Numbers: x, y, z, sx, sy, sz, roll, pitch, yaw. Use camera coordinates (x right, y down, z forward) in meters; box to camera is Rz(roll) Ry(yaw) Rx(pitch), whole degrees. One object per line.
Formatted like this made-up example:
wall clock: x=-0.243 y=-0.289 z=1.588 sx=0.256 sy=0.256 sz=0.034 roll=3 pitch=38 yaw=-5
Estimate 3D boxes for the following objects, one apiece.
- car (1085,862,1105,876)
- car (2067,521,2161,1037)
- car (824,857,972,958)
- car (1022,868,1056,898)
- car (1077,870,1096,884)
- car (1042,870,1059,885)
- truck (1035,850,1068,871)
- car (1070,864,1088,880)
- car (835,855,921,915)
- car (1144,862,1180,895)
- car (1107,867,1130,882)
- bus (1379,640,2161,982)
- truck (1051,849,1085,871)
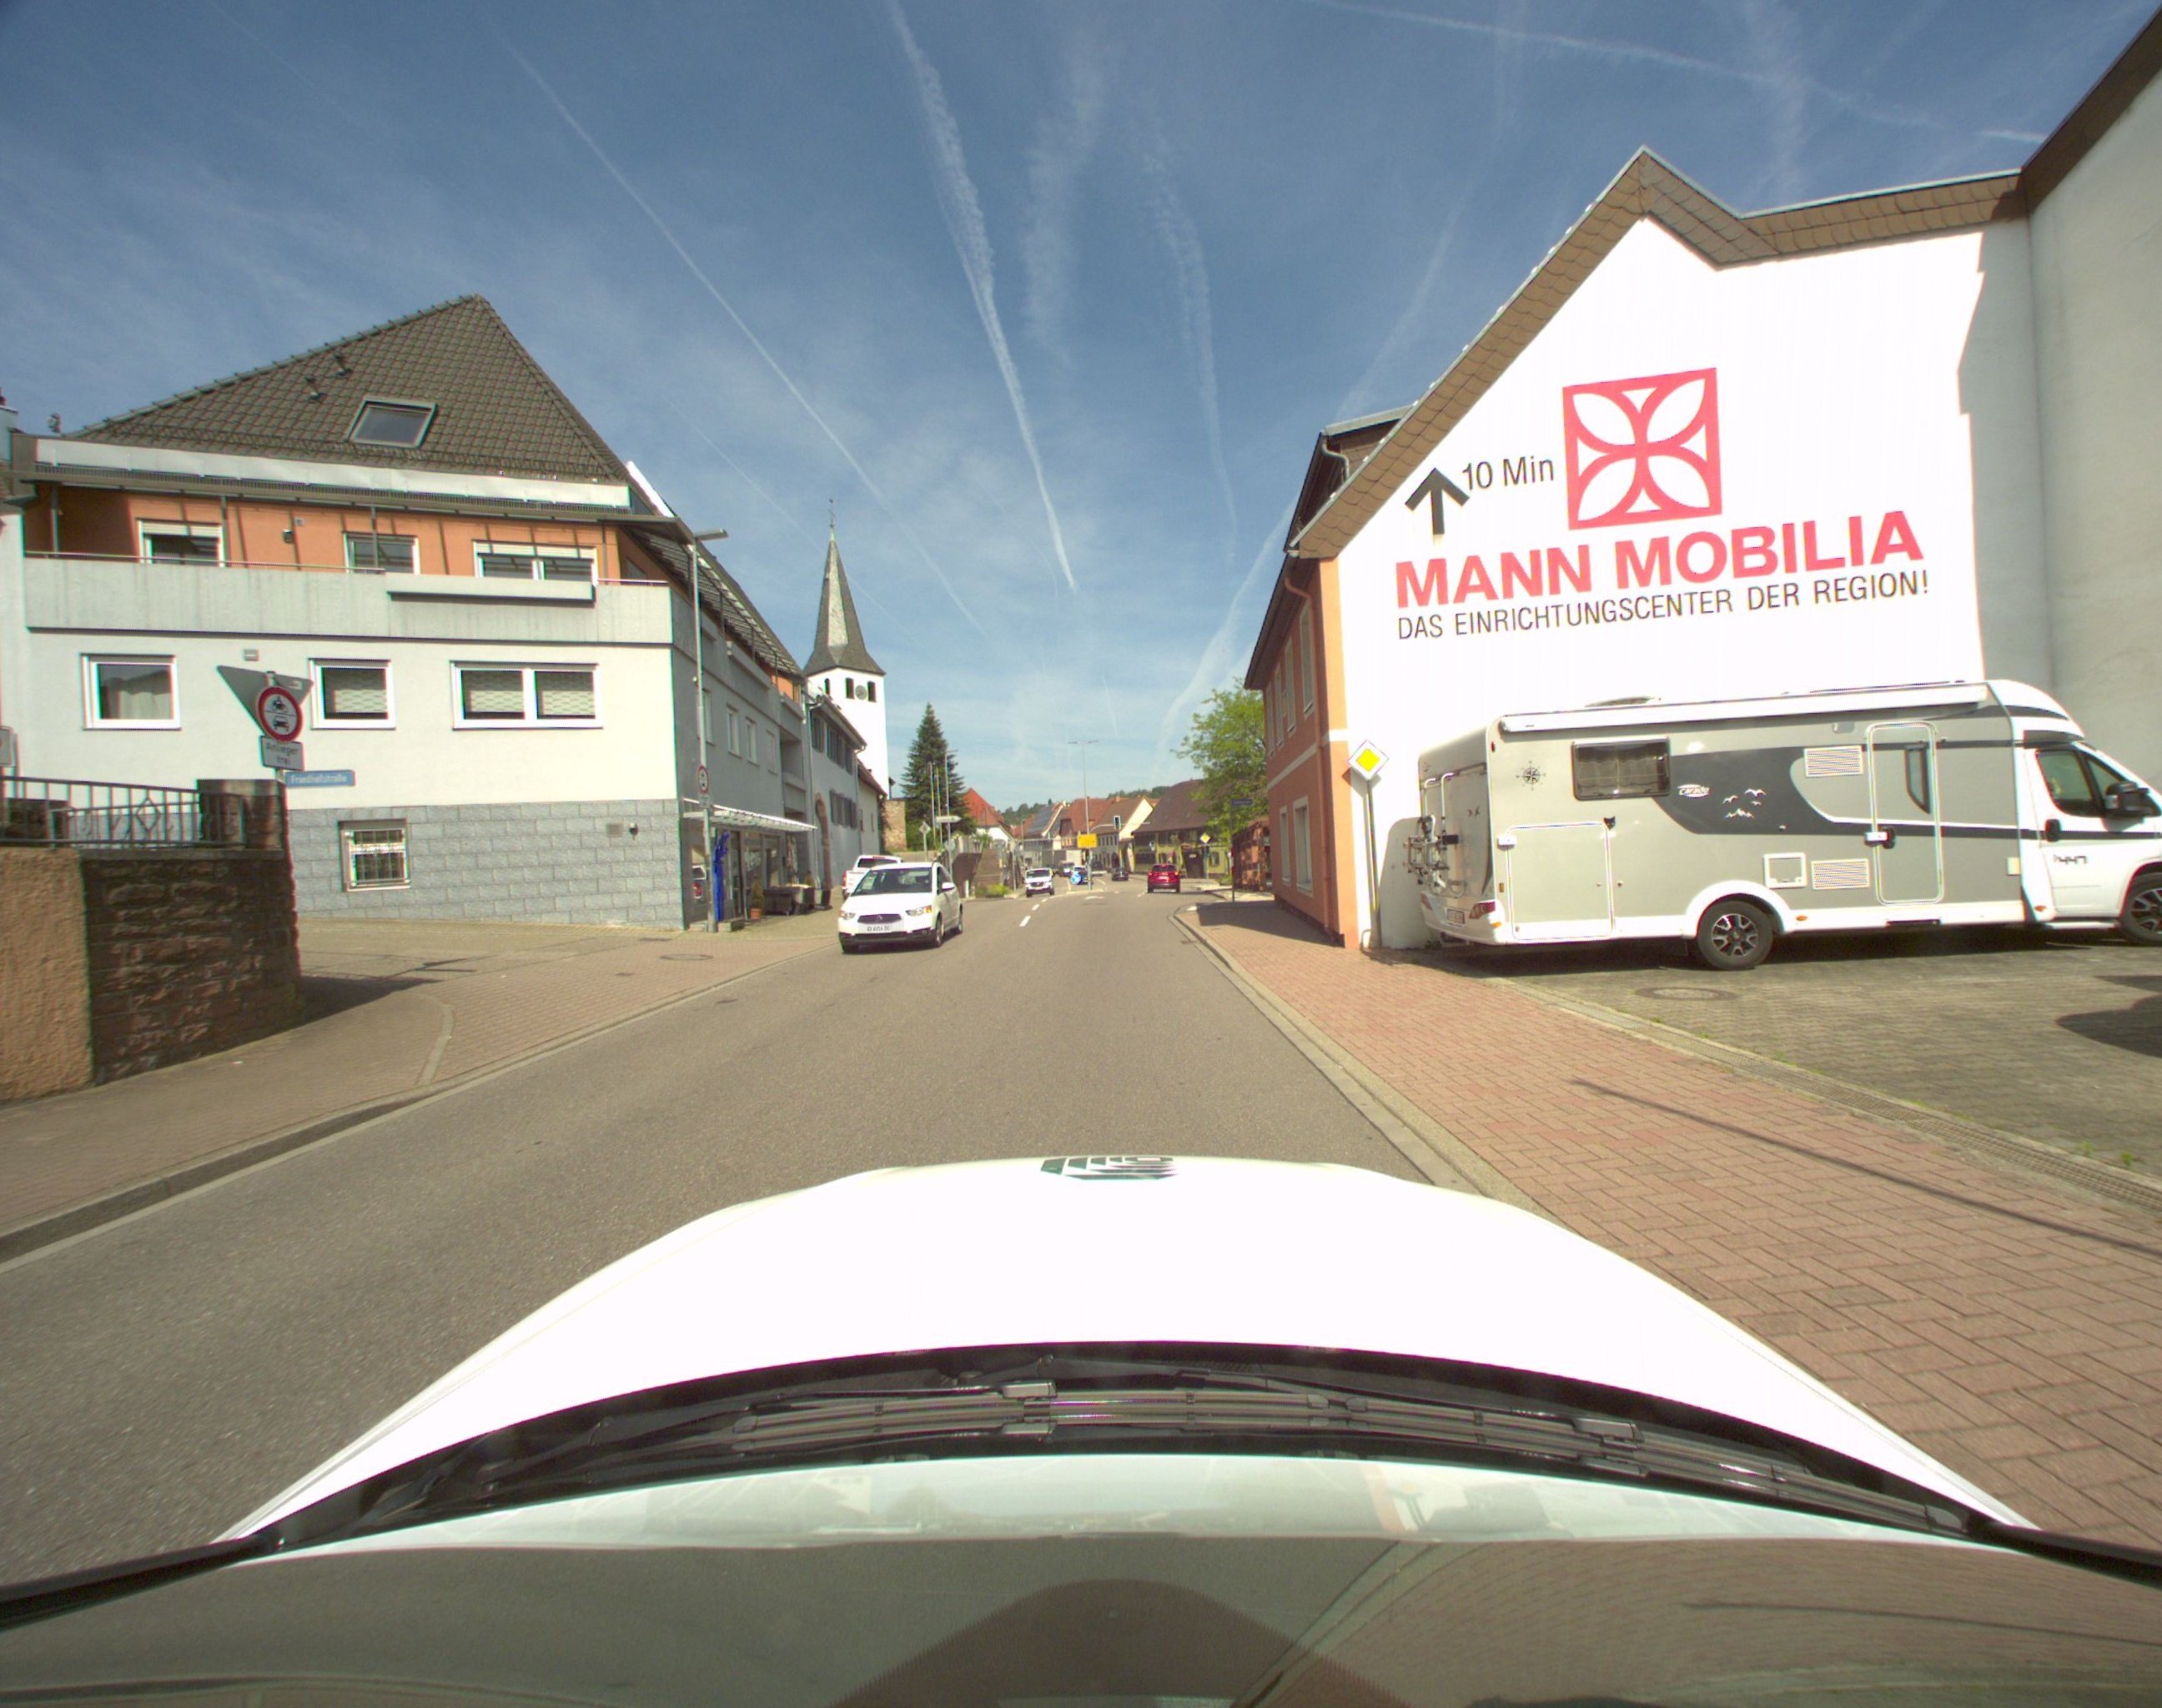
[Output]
car: x=1.992 y=2.157 z=119.120 sx=1.850 sy=2.014 sz=3.979 roll=0 pitch=-1 yaw=-15
car: x=8.809 y=-0.552 z=3.134 sx=5.908 sy=2.987 sz=2.330 roll=-3 pitch=0 yaw=21
car: x=-3.246 y=0.875 z=15.206 sx=1.723 sy=1.542 sz=3.813 roll=-3 pitch=0 yaw=1
car: x=-2.949 y=2.002 z=57.858 sx=1.962 sy=1.933 sz=5.314 roll=-3 pitch=-1 yaw=1
car: x=0.666 y=2.666 z=93.456 sx=1.813 sy=1.434 sz=4.252 roll=-2 pitch=0 yaw=3
car: x=-4.987 y=3.788 z=132.726 sx=1.761 sy=2.246 sz=4.529 roll=0 pitch=-1 yaw=-15
truck: x=-5.279 y=1.206 z=144.627 sx=3.167 sy=3.461 sz=10.647 roll=0 pitch=-1 yaw=-17
car: x=-0.276 y=2.371 z=105.984 sx=1.818 sy=1.906 sz=4.954 roll=-2 pitch=0 yaw=-5
car: x=-6.686 y=0.947 z=27.437 sx=1.800 sy=1.798 sz=5.279 roll=1 pitch=0 yaw=-3
car: x=4.682 y=1.366 z=46.705 sx=1.794 sy=1.663 sz=3.821 roll=-3 pitch=0 yaw=8
car: x=4.601 y=2.519 z=100.494 sx=1.823 sy=1.739 sz=3.987 roll=-3 pitch=0 yaw=-13
bus: x=7.103 y=-0.363 z=9.175 sx=6.534 sy=2.905 sz=2.232 roll=-4 pitch=-1 yaw=5
truck: x=-2.271 y=1.022 z=135.138 sx=3.231 sy=3.549 sz=9.177 roll=0 pitch=-1 yaw=-17
